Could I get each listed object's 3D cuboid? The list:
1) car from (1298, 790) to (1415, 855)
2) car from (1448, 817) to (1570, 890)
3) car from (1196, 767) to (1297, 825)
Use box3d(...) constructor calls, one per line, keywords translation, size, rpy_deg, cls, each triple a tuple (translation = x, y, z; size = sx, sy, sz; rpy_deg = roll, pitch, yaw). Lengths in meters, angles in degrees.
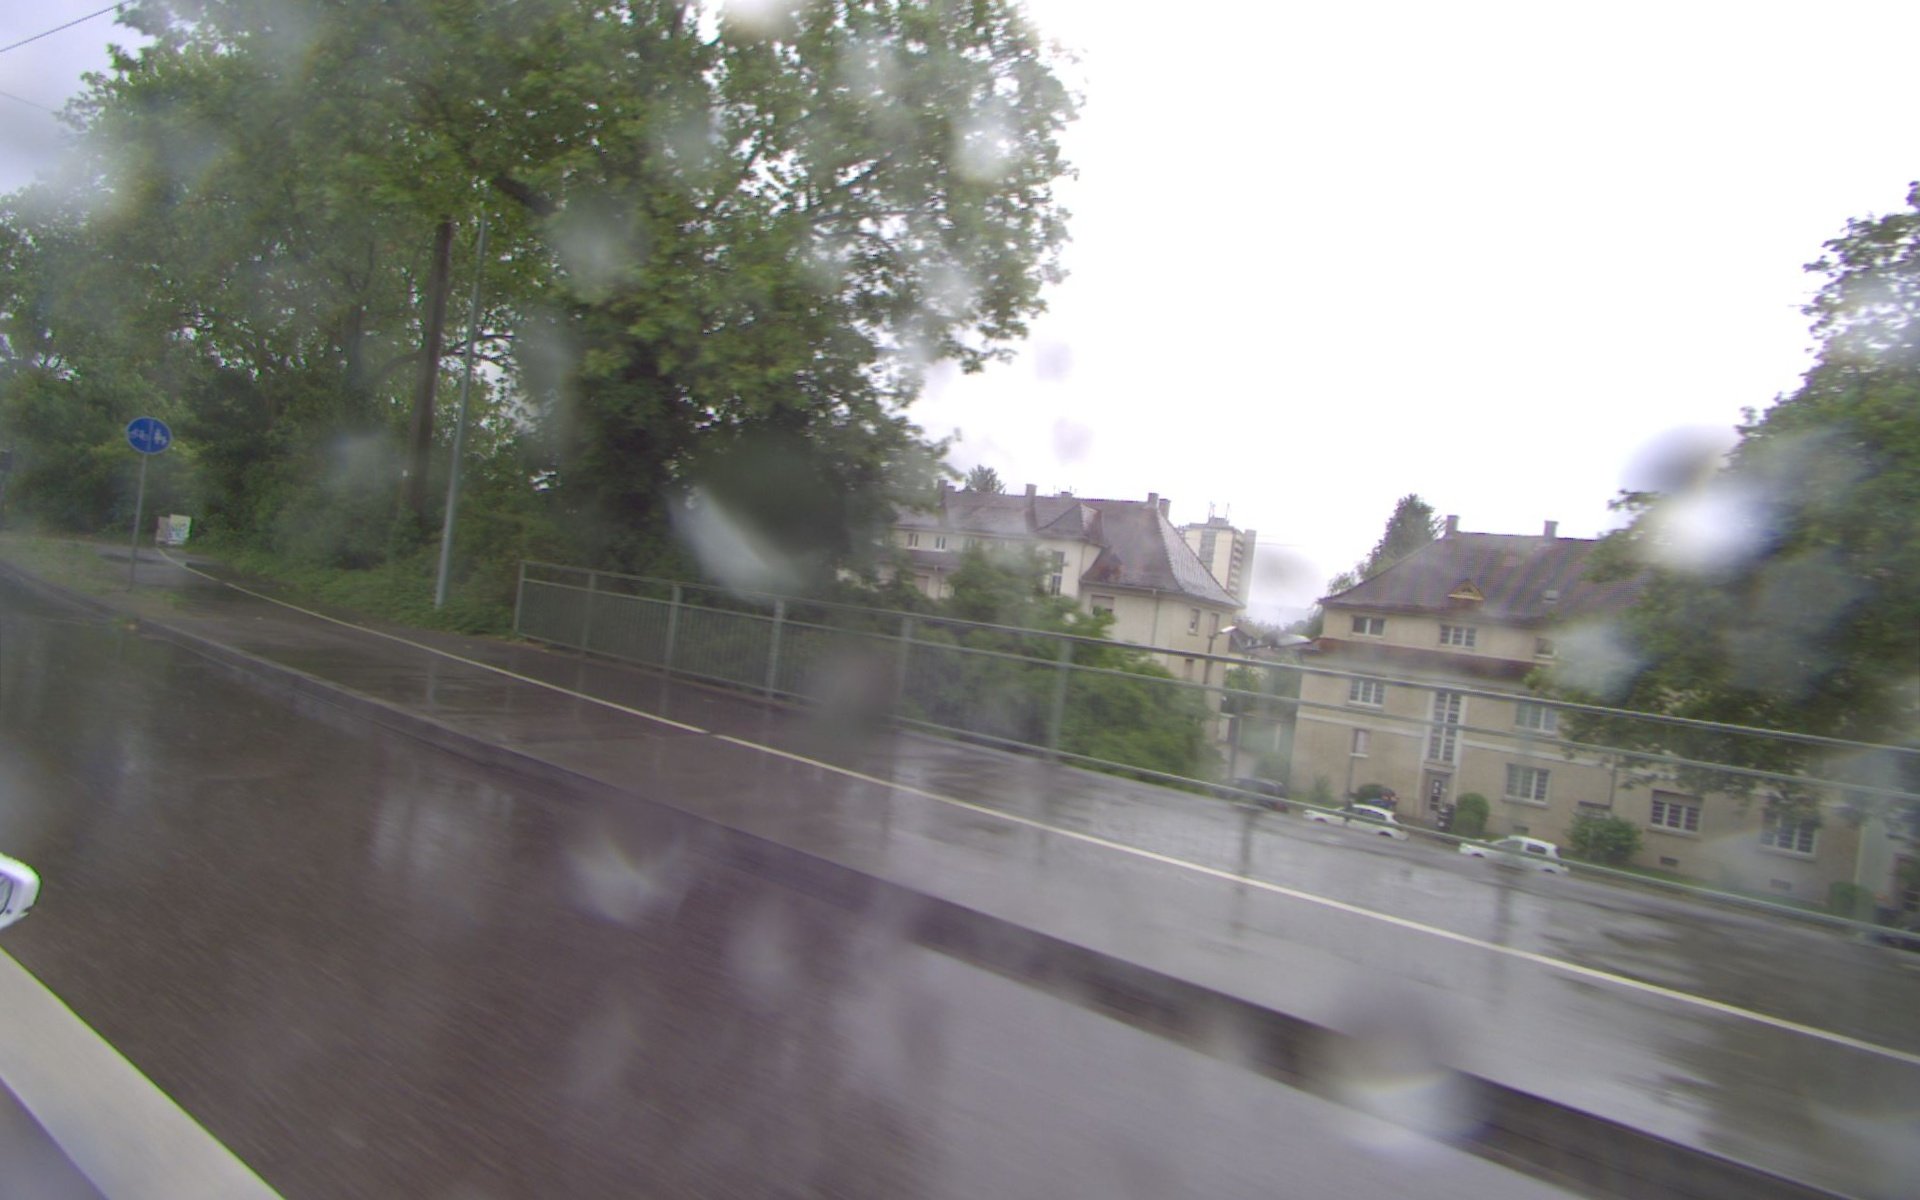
box3d(translation=(16.606, 9.260, 42.213), size=(4.118, 1.681, 1.854), rpy_deg=(7, -1, 34), cls="car")
box3d(translation=(21.342, 9.798, 39.149), size=(3.934, 1.681, 1.939), rpy_deg=(7, -1, 32), cls="car")
box3d(translation=(12.751, 8.691, 44.857), size=(3.807, 1.681, 1.817), rpy_deg=(7, -1, 34), cls="car")
